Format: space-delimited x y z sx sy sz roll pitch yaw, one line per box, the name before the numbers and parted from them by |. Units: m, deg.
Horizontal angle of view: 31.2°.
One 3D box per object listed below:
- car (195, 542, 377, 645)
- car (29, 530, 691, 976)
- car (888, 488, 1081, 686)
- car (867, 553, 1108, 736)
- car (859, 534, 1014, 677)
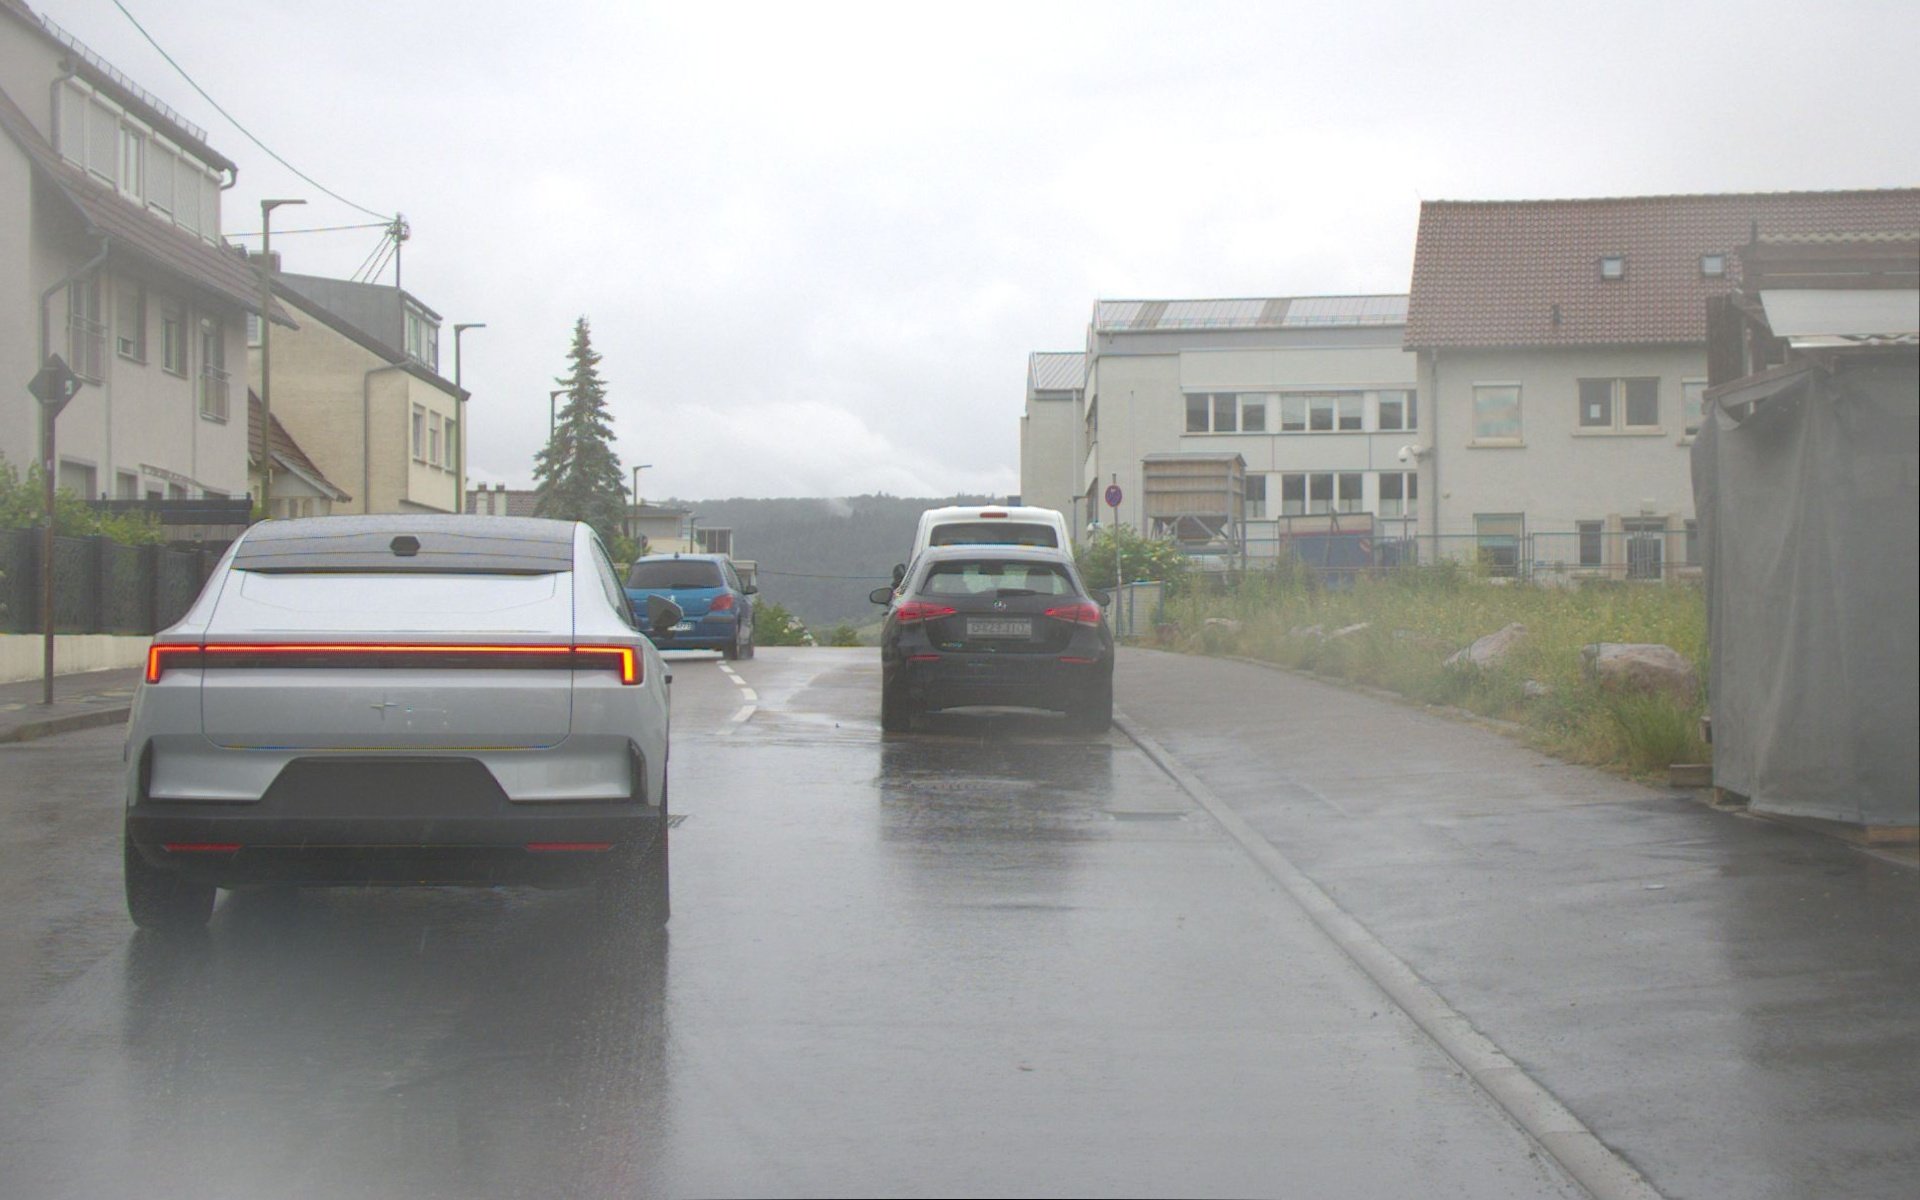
car | -11.000 -0.112 56.439 1.993 1.505 4.895 3 0 -1
car | -2.207 0.503 13.947 1.993 1.497 4.670 0 0 -2
car | 0.192 -0.135 34.530 1.768 1.819 4.575 1 0 -1
car | 0.171 0.321 27.788 1.768 1.331 4.321 1 0 -1
car | -0.326 0.046 40.950 1.642 1.569 4.644 1 0 -3
